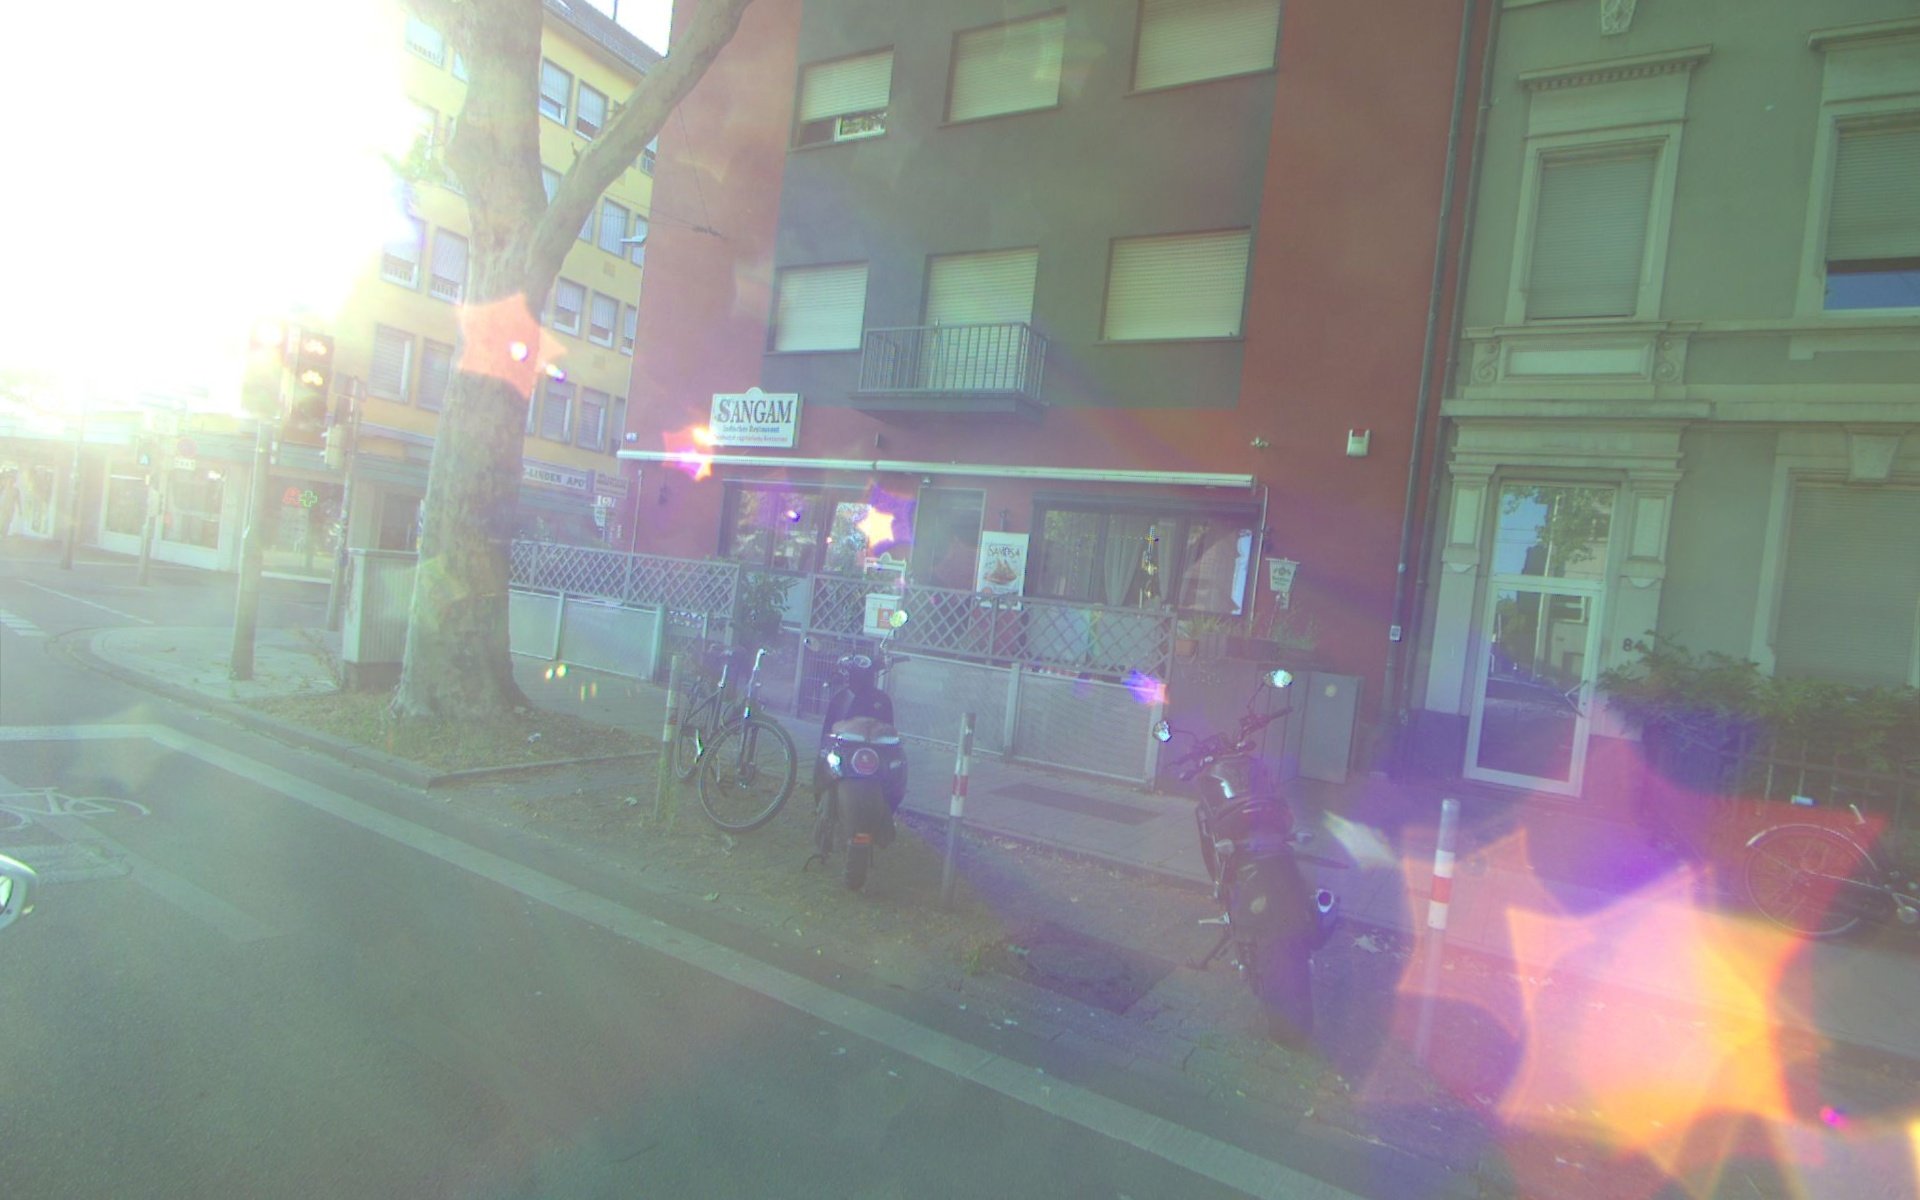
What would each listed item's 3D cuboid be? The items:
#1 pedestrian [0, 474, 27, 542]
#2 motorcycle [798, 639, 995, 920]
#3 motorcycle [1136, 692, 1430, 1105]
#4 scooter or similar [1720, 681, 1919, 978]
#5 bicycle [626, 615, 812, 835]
[{"bbox_3d":[-26.302,-2.546,27.592,0.880,1.803,0.744,6,2,31],"label":"pedestrian"},{"bbox_3d":[-0.448,0.907,5.733,0.772,1.126,1.885,7,2,-11],"label":"motorcycle"},{"bbox_3d":[1.314,1.146,4.622,0.651,1.125,2.212,7,2,4],"label":"motorcycle"},{"bbox_3d":[5.778,1.353,5.411,2.502,1.488,0.665,7,1,32],"label":"scooter or similar"},{"bbox_3d":[-1.700,0.777,6.855,0.614,1.126,1.784,5,3,-31],"label":"bicycle"}]
